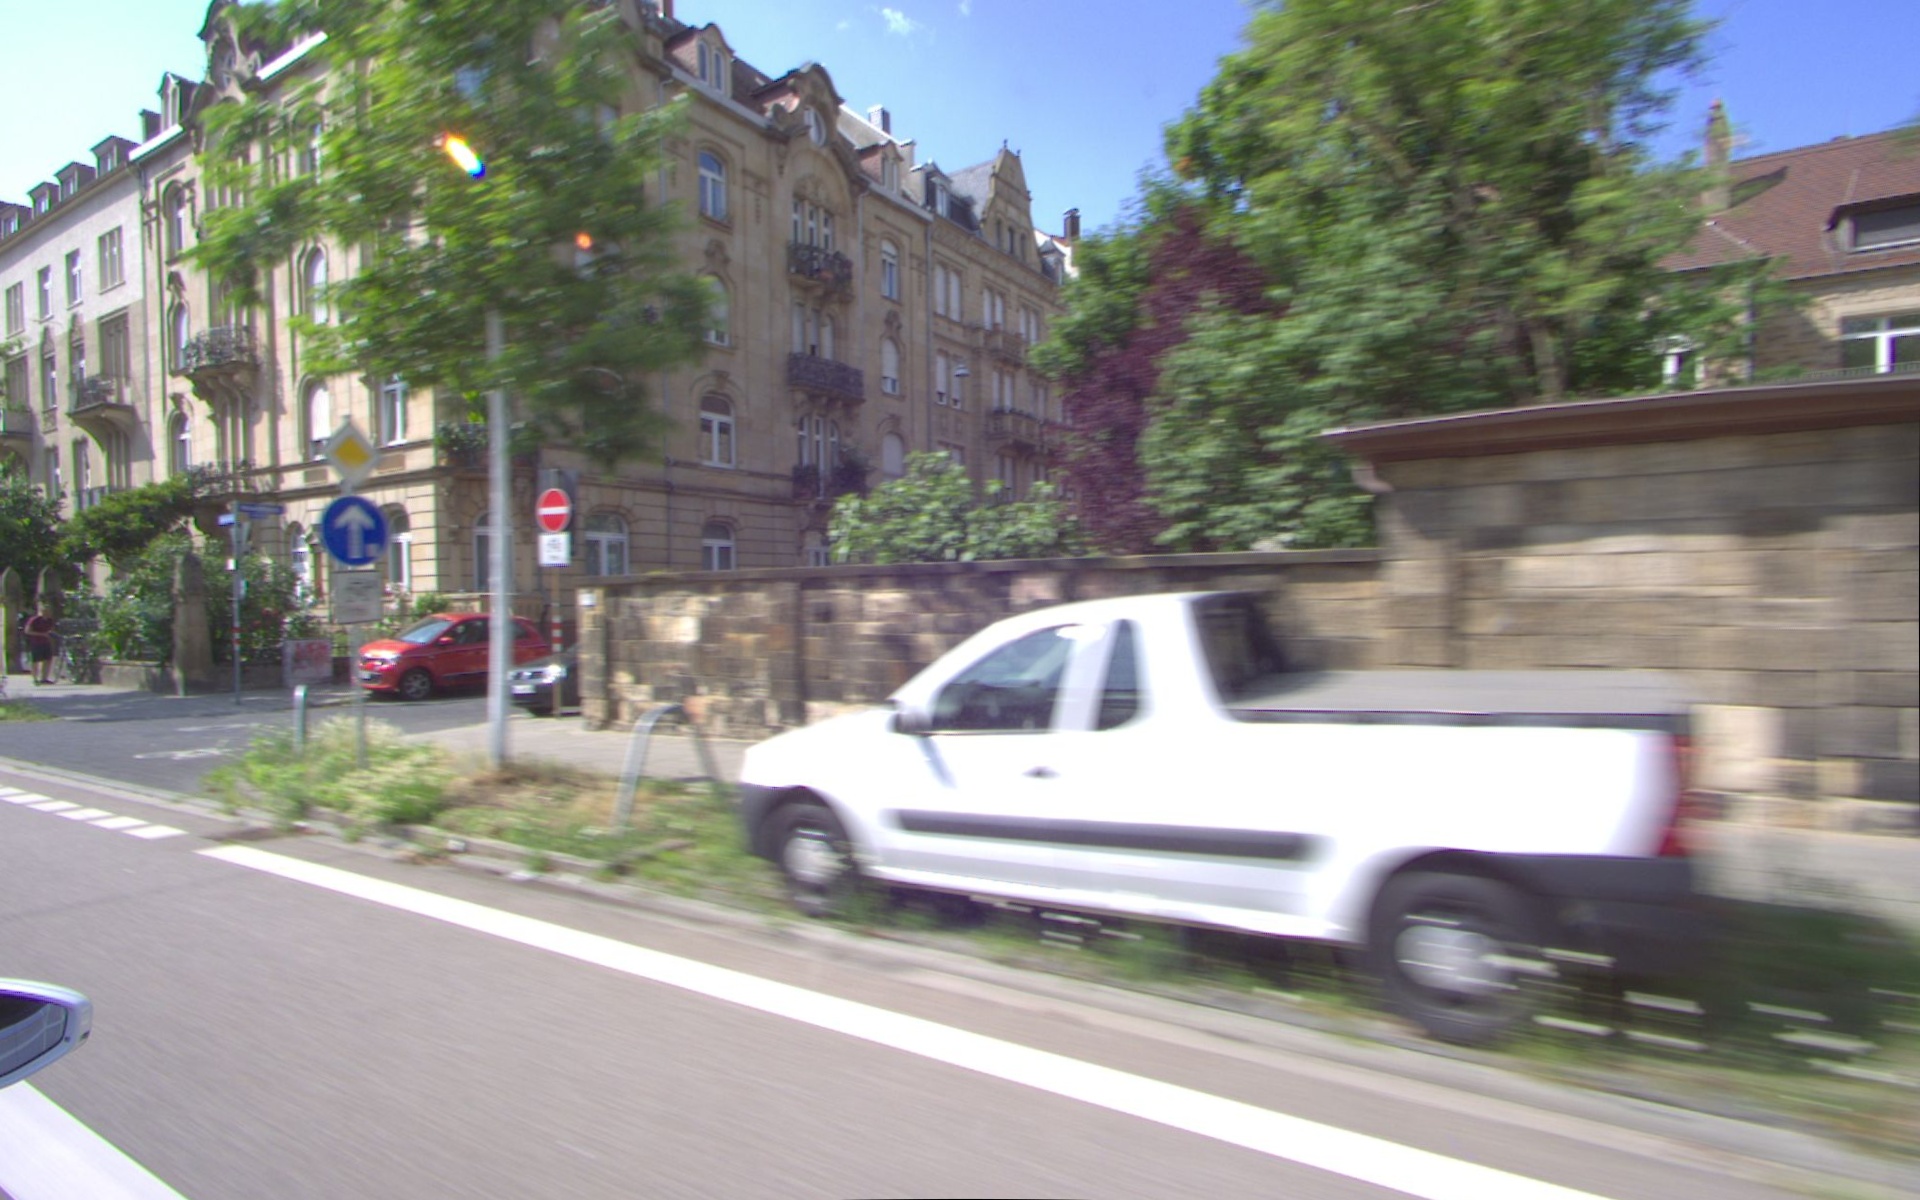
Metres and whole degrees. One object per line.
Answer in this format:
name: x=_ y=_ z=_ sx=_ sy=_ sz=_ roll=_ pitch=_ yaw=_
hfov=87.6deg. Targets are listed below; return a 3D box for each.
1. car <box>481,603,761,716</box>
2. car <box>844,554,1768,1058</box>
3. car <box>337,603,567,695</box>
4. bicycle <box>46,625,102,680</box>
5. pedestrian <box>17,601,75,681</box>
car: x=-5.416 y=0.897 z=16.545 sx=1.732 sy=1.575 sz=4.244 roll=-3 pitch=-1 yaw=31
car: x=1.352 y=0.612 z=4.743 sx=3.800 sy=1.435 sz=1.661 roll=0 pitch=-1 yaw=41
car: x=-10.088 y=0.900 z=20.108 sx=1.734 sy=1.576 sz=3.729 roll=0 pitch=1 yaw=36
bicycle: x=-19.098 y=1.111 z=21.574 sx=1.687 sy=1.123 sz=0.468 roll=-1 pitch=1 yaw=33
pedestrian: x=-19.439 y=0.855 z=21.299 sx=0.714 sy=1.650 sz=0.721 roll=0 pitch=1 yaw=33
